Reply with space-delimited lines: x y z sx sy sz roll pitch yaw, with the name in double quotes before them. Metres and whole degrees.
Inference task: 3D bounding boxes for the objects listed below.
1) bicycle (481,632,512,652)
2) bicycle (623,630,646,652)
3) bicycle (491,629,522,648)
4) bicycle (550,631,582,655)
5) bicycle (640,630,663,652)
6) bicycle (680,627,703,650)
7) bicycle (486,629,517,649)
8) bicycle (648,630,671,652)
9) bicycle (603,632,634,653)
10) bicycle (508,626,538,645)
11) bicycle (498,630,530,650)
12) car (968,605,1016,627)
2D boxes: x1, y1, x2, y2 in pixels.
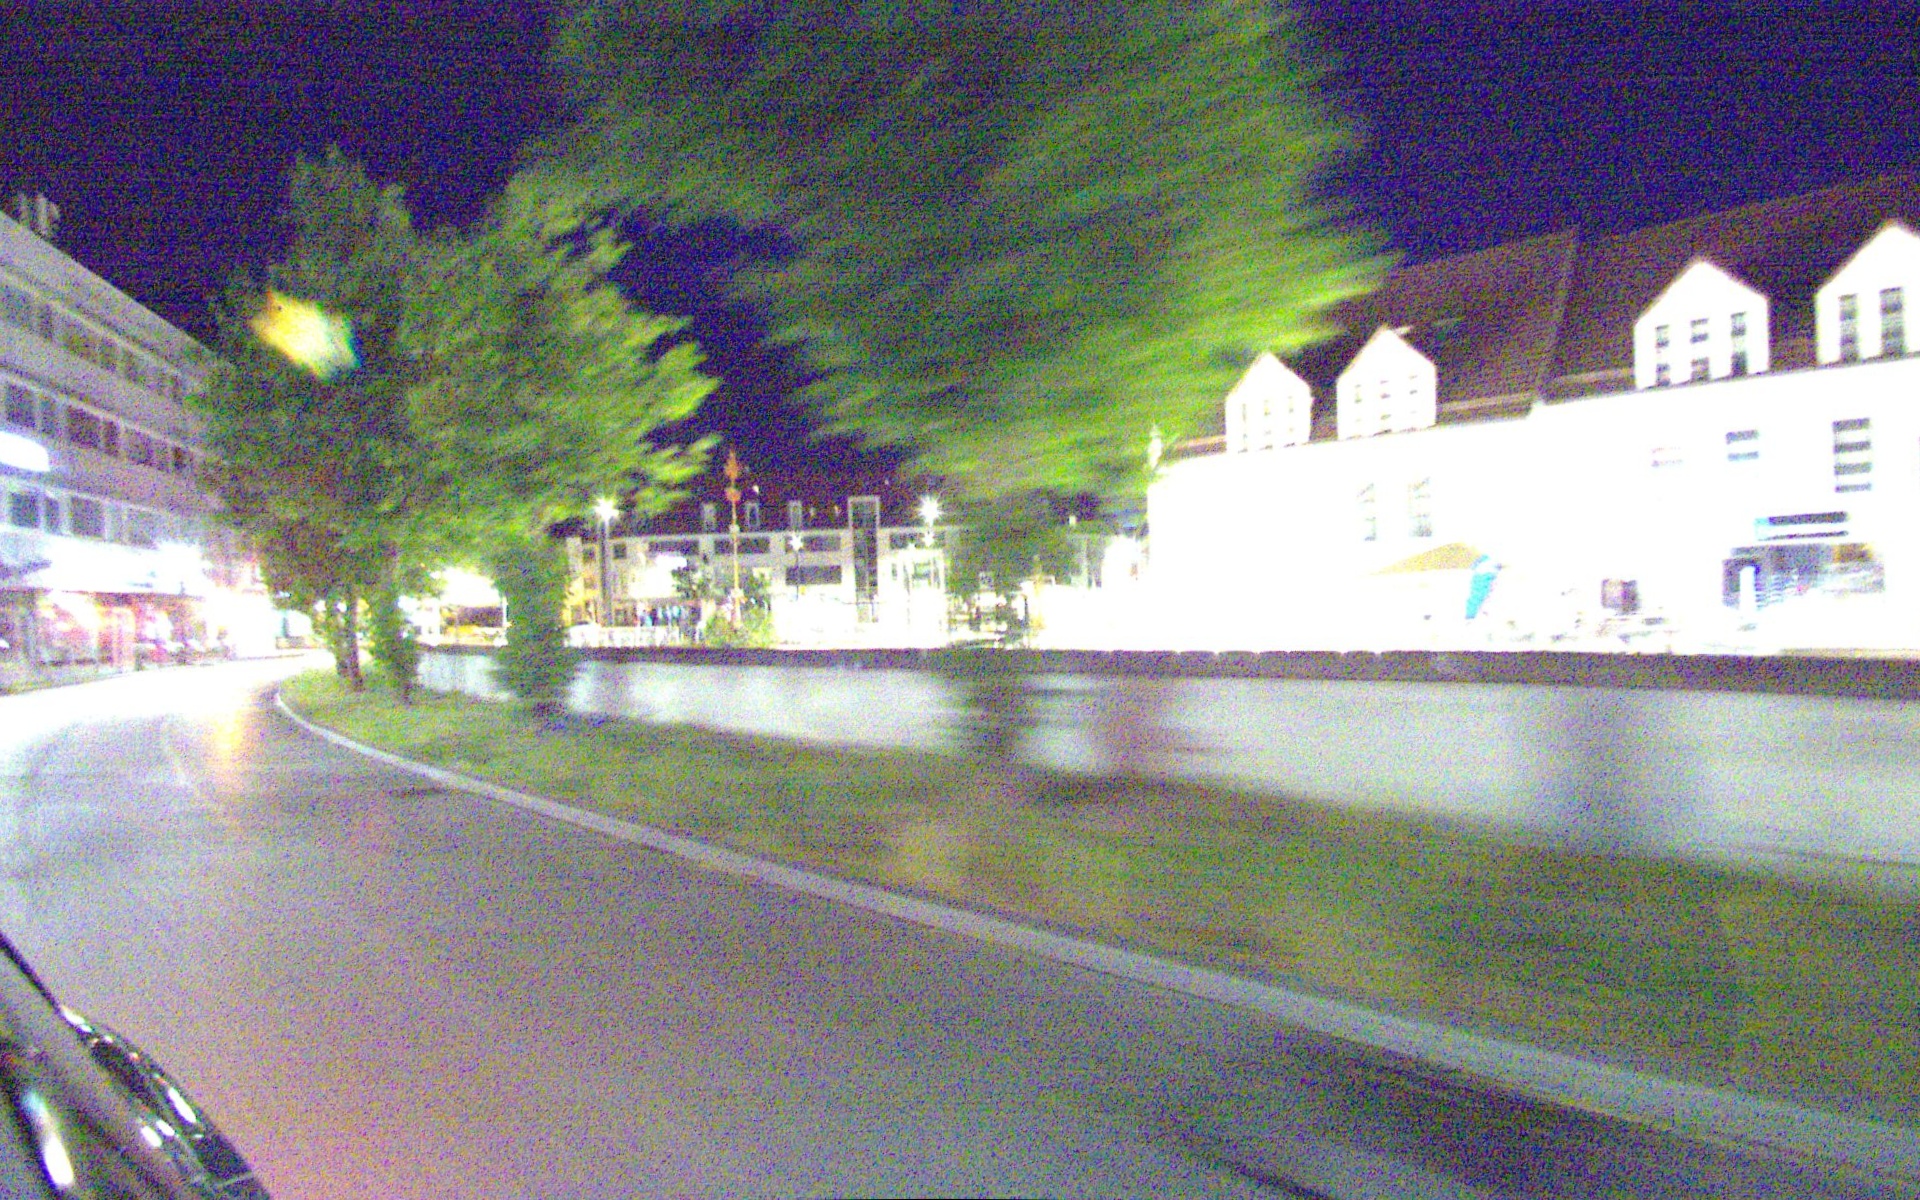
"bicycle" -27.154 2.449 59.315 1.593 1.114 0.672 -2 0 -18
"bicycle" -16.861 2.120 52.355 0.599 1.133 1.751 0 -2 -36
"bicycle" -27.502 2.335 61.374 1.593 1.114 0.672 -1 0 -18
"bicycle" -19.320 2.102 49.617 1.745 1.171 0.751 -3 -3 40
"bicycle" -16.148 2.136 53.000 0.599 1.109 1.751 0 -2 -36
"bicycle" -14.684 2.087 55.295 0.599 1.228 1.751 0 -2 -36
"bicycle" -27.425 2.341 60.606 1.593 1.114 0.672 -2 0 -18
"bicycle" -16.018 2.182 53.923 0.599 1.174 1.751 0 -2 -36
"bicycle" -17.589 2.188 52.086 1.744 1.078 0.601 -3 -3 36
"bicycle" -30.116 2.463 69.790 1.712 1.175 0.789 -4 -1 -13
"bicycle" -27.956 2.502 63.405 1.744 1.173 0.672 -1 -1 -18
"car" 3.057 1.572 96.557 4.352 1.952 1.962 -1 -2 -3
